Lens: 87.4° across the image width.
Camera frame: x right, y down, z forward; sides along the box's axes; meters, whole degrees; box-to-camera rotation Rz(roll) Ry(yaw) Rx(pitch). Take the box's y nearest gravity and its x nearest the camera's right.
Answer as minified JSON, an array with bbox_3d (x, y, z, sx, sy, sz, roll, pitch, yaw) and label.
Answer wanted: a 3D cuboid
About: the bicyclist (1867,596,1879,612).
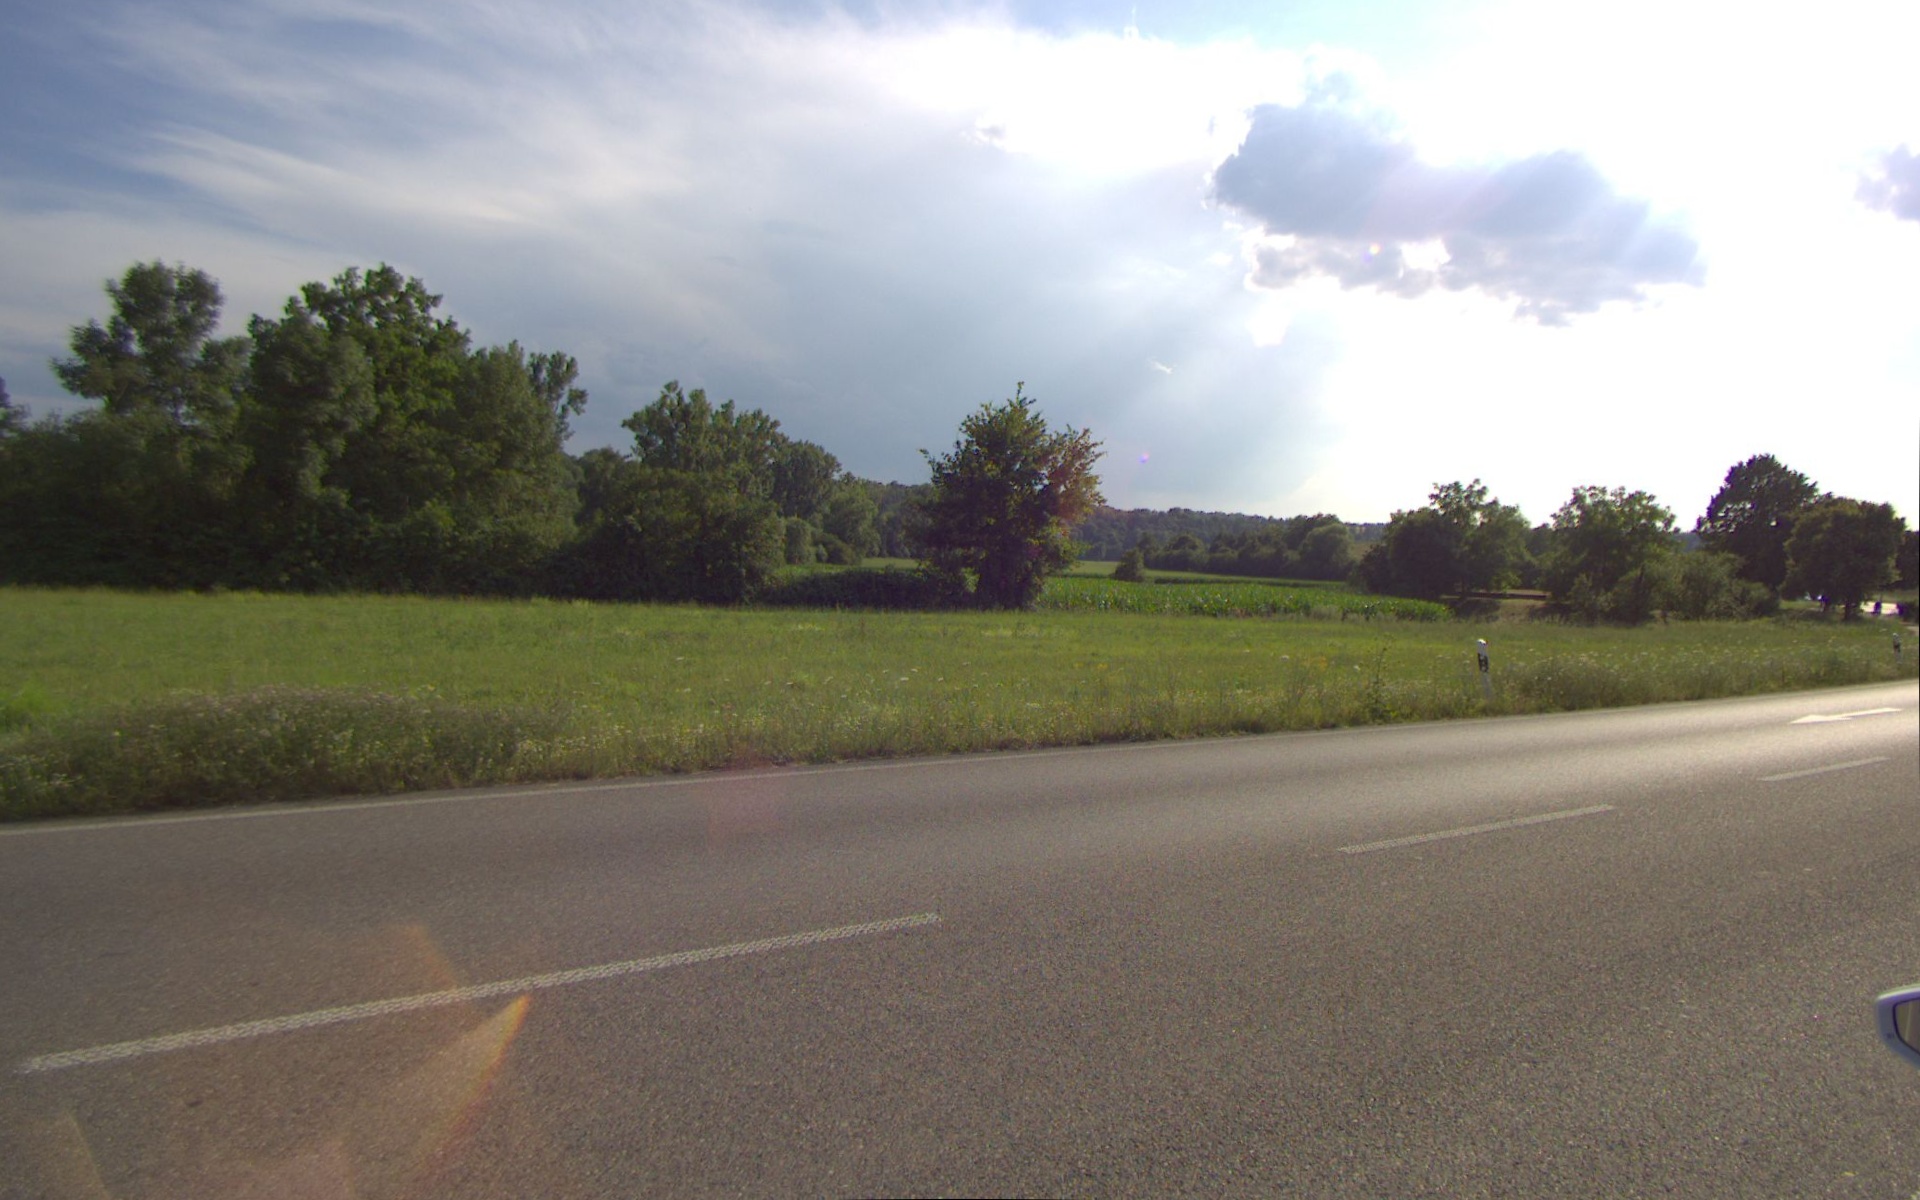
[{"bbox_3d":[80.909,0.354,89.023,0.685,1.439,0.630,1,2,-38],"label":"bicyclist"}]

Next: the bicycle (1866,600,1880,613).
[{"bbox_3d":[80.949,0.568,89.073,1.656,1.089,0.630,1,2,-39],"label":"bicycle"}]
